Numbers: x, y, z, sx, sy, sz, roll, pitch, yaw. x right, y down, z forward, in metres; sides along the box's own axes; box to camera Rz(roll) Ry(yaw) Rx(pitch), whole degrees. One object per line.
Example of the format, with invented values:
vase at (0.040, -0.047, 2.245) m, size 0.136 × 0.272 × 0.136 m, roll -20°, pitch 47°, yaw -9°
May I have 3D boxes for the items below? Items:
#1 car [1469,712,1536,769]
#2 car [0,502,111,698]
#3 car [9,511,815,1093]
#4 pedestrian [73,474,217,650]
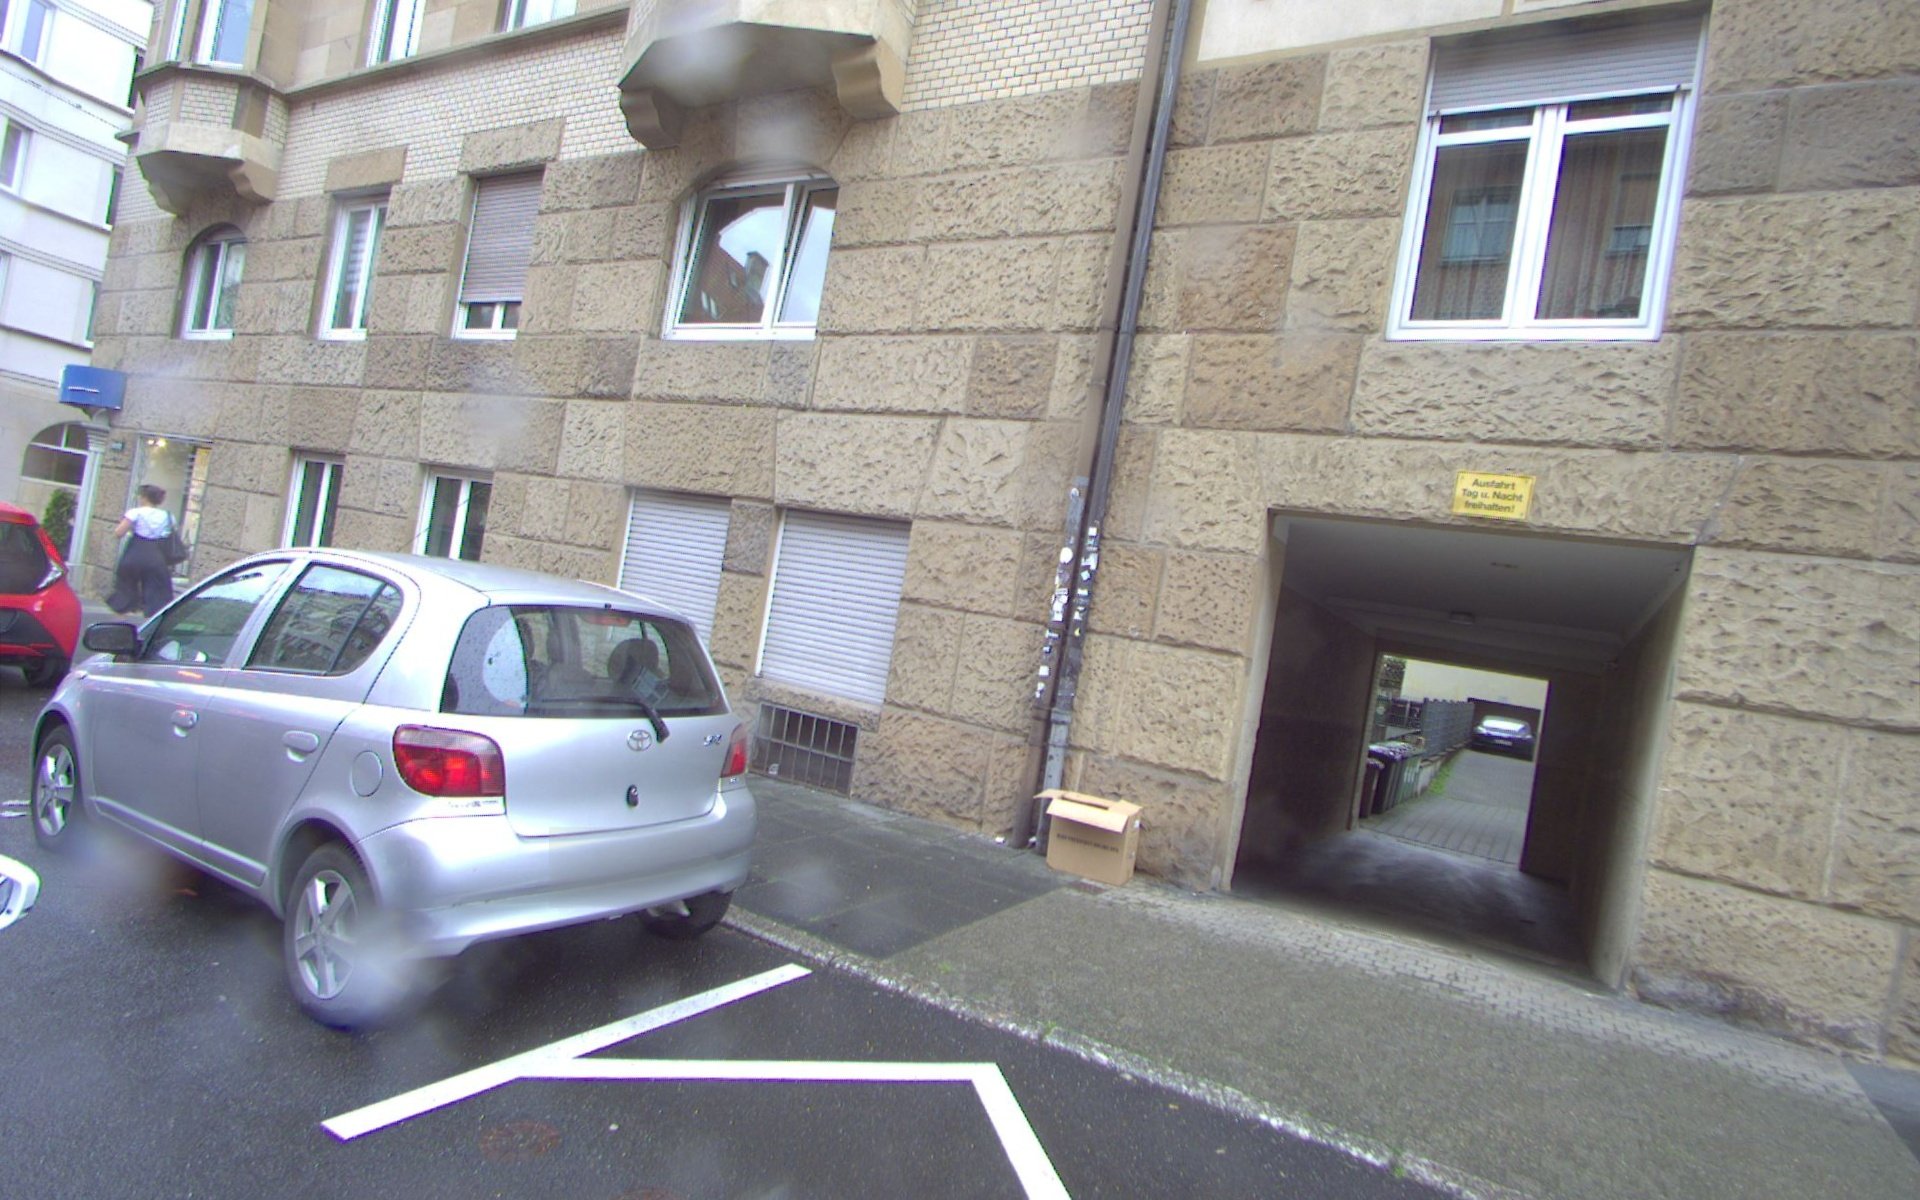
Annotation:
car at (18.345, 4.714, 33.935) m, size 1.693 × 1.538 × 4.102 m, roll 7°, pitch -3°, yaw 31°
car at (-8.725, -0.190, 8.168) m, size 3.243 × 1.464 × 1.646 m, roll 7°, pitch -2°, yaw 29°
car at (-2.476, 0.556, 4.391) m, size 3.258 × 1.485 × 1.616 m, roll 7°, pitch -1°, yaw 33°
pedestrian at (-8.975, -0.417, 11.078) m, size 1.093 × 1.768 × 0.743 m, roll 6°, pitch -1°, yaw 32°
